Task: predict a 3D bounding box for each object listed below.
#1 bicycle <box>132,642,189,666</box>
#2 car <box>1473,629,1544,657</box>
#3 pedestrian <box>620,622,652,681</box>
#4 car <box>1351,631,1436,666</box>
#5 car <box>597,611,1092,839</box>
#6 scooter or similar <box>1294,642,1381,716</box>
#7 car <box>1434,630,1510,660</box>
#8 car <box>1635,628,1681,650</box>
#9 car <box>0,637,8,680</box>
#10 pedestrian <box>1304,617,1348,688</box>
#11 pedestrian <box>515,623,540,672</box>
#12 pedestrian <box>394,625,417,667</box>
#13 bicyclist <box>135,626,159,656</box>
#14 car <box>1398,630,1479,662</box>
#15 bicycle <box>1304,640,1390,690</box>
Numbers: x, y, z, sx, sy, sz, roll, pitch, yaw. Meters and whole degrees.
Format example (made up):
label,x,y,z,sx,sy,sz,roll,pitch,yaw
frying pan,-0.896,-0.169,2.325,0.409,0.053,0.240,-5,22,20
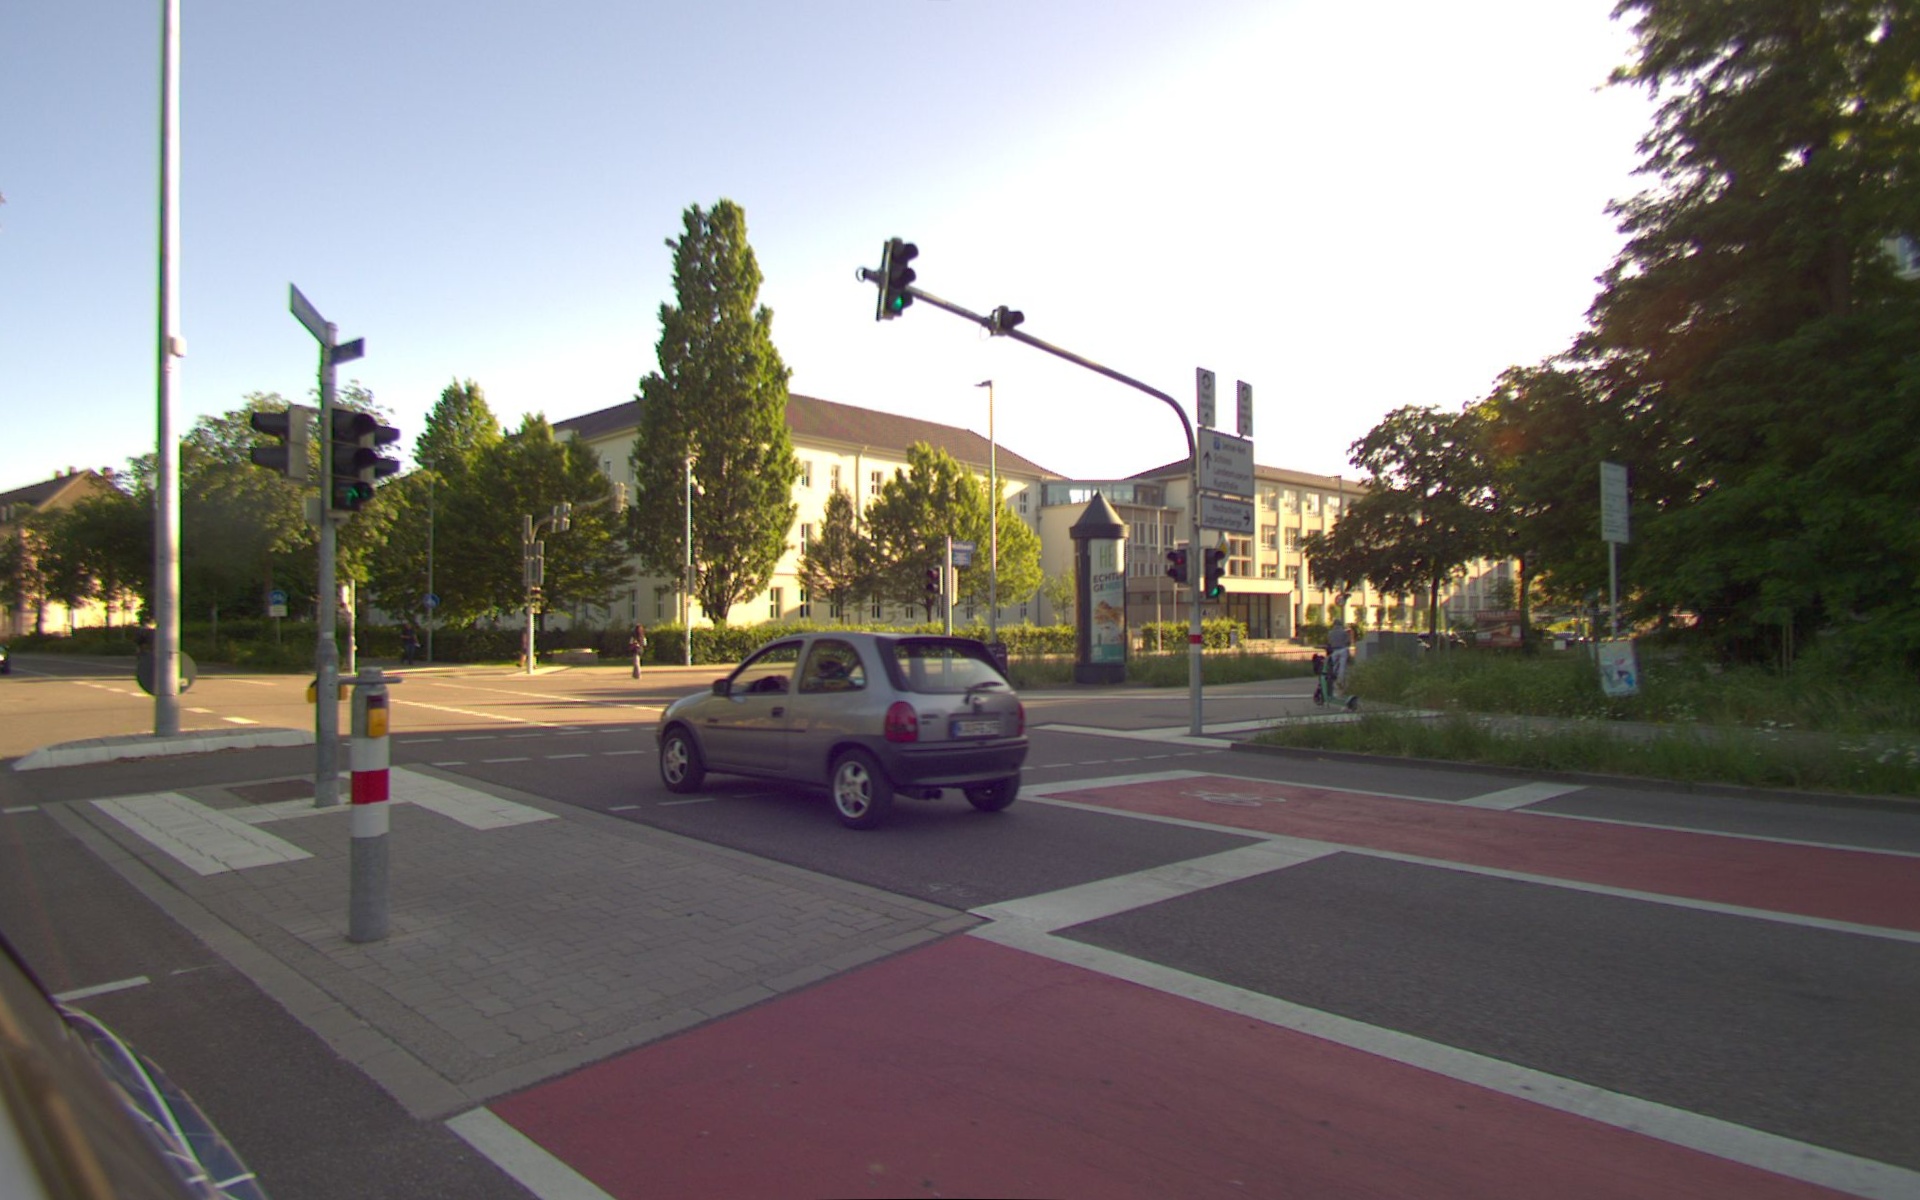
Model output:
label,x,y,z,sx,sy,sz,roll,pitch,yaw
bicycle,-40.094,2.700,50.774,2.151,1.125,0.700,0,-2,-23
car,31.820,2.459,58.665,4.192,1.551,2.241,1,-2,-41
pedestrian,-10.121,1.598,31.590,0.733,1.830,0.727,1,-2,-40
car,20.580,2.264,47.961,4.192,1.551,2.072,1,-2,-41
car,-1.220,0.907,8.601,1.691,1.432,4.557,7,-6,-44
scooter or similar,6.991,1.436,18.804,0.683,1.304,1.501,0,-2,-19
car,28.062,2.428,55.427,4.192,1.551,2.241,1,-2,-41
car,51.788,2.864,75.089,3.936,1.598,1.814,1,-2,-40
car,-34.242,2.015,34.834,4.525,1.428,1.700,-2,-1,41
pedestrian,9.023,1.286,24.929,0.965,1.709,0.643,2,-2,-44
pedestrian,-16.483,1.804,38.567,0.681,1.830,0.681,1,-2,-40
pedestrian,-22.654,1.884,41.371,0.681,1.694,0.681,1,-2,-40
bicyclist,-40.634,2.063,50.597,0.745,1.477,0.700,1,-2,-22
car,24.518,2.331,51.821,4.192,1.551,2.241,1,-2,-41
bicycle,9.492,1.562,24.744,2.541,1.144,0.981,1,-2,-44
